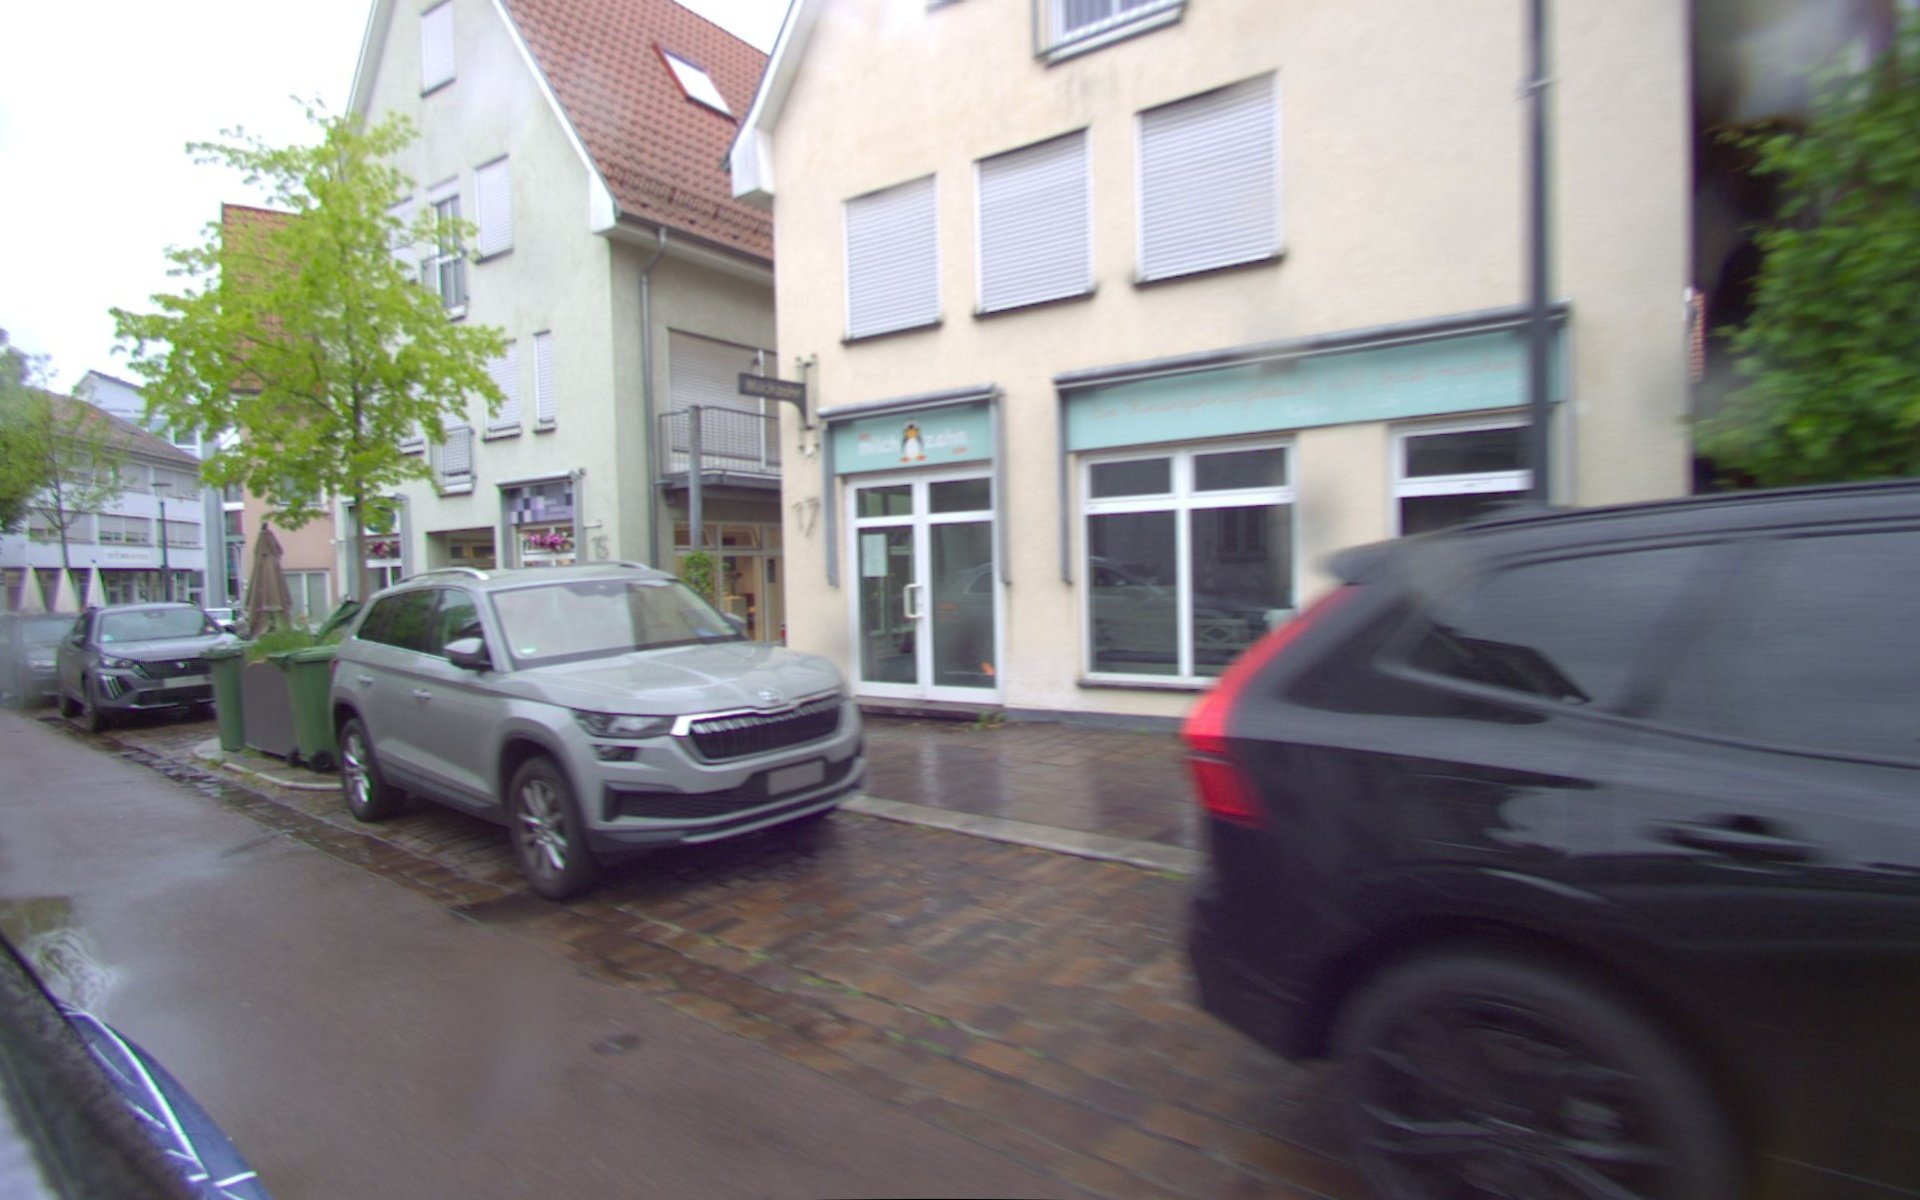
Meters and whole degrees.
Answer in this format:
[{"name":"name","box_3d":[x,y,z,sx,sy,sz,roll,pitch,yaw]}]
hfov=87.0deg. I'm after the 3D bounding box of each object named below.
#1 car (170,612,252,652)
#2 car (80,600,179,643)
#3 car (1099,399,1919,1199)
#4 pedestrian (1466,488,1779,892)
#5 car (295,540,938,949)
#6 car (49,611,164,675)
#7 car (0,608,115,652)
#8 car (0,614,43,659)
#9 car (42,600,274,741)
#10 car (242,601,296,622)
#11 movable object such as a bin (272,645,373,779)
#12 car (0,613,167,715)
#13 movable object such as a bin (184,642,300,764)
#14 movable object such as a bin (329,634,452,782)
[{"name":"car","box_3d":[-30.043,1.256,40.722,1.823,1.463,4.086,-3,0,-25]},{"name":"car","box_3d":[-38.871,0.965,47.513,1.763,1.651,4.452,-2,3,-13]},{"name":"car","box_3d":[2.715,0.478,1.729,4.639,1.678,1.806,0,3,40]},{"name":"pedestrian","box_3d":[3.153,0.359,4.890,1.174,1.694,0.781,0,3,35]},{"name":"car","box_3d":[-2.451,0.533,6.408,4.642,1.678,1.805,1,3,42]},{"name":"car","box_3d":[-25.773,1.223,30.712,1.849,1.552,4.414,-3,3,-30]},{"name":"car","box_3d":[-37.233,1.196,41.887,1.764,1.479,3.960,-2,3,-12]},{"name":"car","box_3d":[-35.600,1.351,36.803,1.763,1.567,3.961,-1,1,-16]},{"name":"car","box_3d":[-11.209,0.859,14.028,4.328,1.535,1.842,-1,3,43]},{"name":"car","box_3d":[-58.175,0.975,85.196,3.890,1.566,1.793,-1,3,19]},{"name":"movable object such as a bin","box_3d":[-5.506,0.946,8.749,0.534,1.054,0.546,0,3,37]},{"name":"car","box_3d":[-15.597,1.036,17.471,4.611,1.453,1.845,-2,1,37]},{"name":"movable object such as a bin","box_3d":[-7.270,1.017,10.255,0.743,1.091,0.739,1,3,38]},{"name":"movable object such as a bin","box_3d":[-4.808,0.880,8.546,0.780,1.109,0.610,0,3,38]}]
